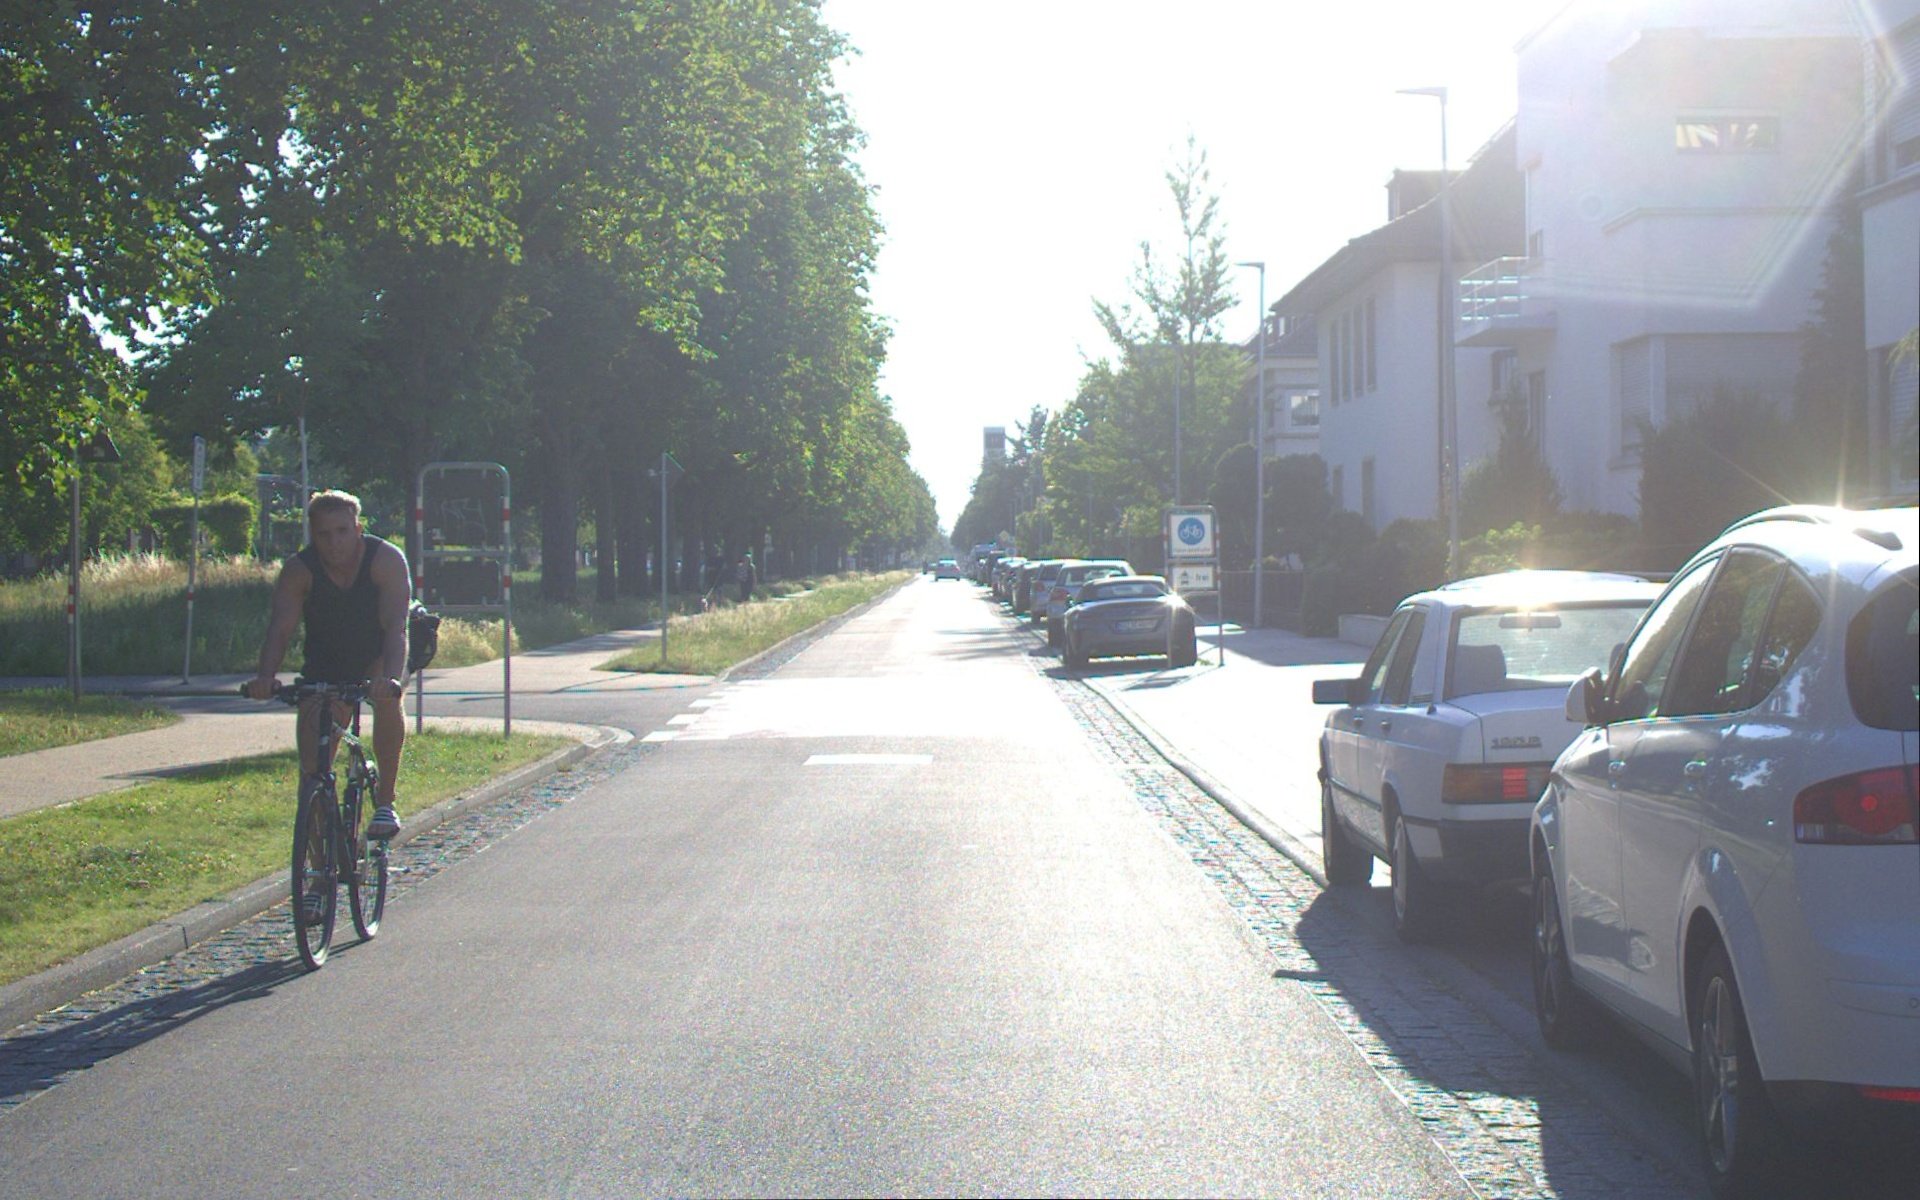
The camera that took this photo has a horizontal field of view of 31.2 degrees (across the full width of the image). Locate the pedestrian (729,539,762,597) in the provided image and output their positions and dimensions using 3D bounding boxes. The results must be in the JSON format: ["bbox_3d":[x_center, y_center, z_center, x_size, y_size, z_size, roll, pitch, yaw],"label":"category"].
[{"bbox_3d":[-5.983,-0.907,95.916,0.783,1.609,0.952,0,1,3],"label":"pedestrian"}]

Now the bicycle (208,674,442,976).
[{"bbox_3d":[-2.420,0.827,13.278,0.556,1.028,1.915,-1,0,-1],"label":"bicycle"}]

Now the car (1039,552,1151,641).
[{"bbox_3d":[2.430,-0.088,62.722,1.744,1.469,3.922,-3,1,-1],"label":"car"}]

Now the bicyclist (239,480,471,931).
[{"bbox_3d":[-2.336,0.393,13.391,0.681,1.667,1.172,-1,0,-1],"label":"bicyclist"}]

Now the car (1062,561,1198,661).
[{"bbox_3d":[2.499,0.134,51.335,1.774,1.284,4.273,-3,1,0],"label":"car"}]

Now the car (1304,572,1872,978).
[{"bbox_3d":[2.456,0.606,14.435,1.563,1.385,4.374,-2,1,0],"label":"car"}]

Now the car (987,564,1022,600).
[{"bbox_3d":[1.939,-0.809,150.787,1.498,1.561,3.266,0,1,1],"label":"car"}]

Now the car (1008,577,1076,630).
[{"bbox_3d":[2.338,0.102,99.092,1.736,1.444,4.197,-2,0,-1],"label":"car"}]

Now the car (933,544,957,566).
[{"bbox_3d":[-1.071,-3.263,247.864,1.652,1.536,3.267,1,0,0],"label":"car"}]

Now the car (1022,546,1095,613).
[{"bbox_3d":[2.352,-0.513,82.715,1.627,1.499,3.633,-2,1,1],"label":"car"}]

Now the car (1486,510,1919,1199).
[{"bbox_3d":[2.479,0.558,8.724,1.679,1.550,4.130,-2,1,1],"label":"car"}]

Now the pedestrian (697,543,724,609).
[{"bbox_3d":[-6.942,-0.665,95.743,0.624,1.824,0.886,0,1,3],"label":"pedestrian"}]
